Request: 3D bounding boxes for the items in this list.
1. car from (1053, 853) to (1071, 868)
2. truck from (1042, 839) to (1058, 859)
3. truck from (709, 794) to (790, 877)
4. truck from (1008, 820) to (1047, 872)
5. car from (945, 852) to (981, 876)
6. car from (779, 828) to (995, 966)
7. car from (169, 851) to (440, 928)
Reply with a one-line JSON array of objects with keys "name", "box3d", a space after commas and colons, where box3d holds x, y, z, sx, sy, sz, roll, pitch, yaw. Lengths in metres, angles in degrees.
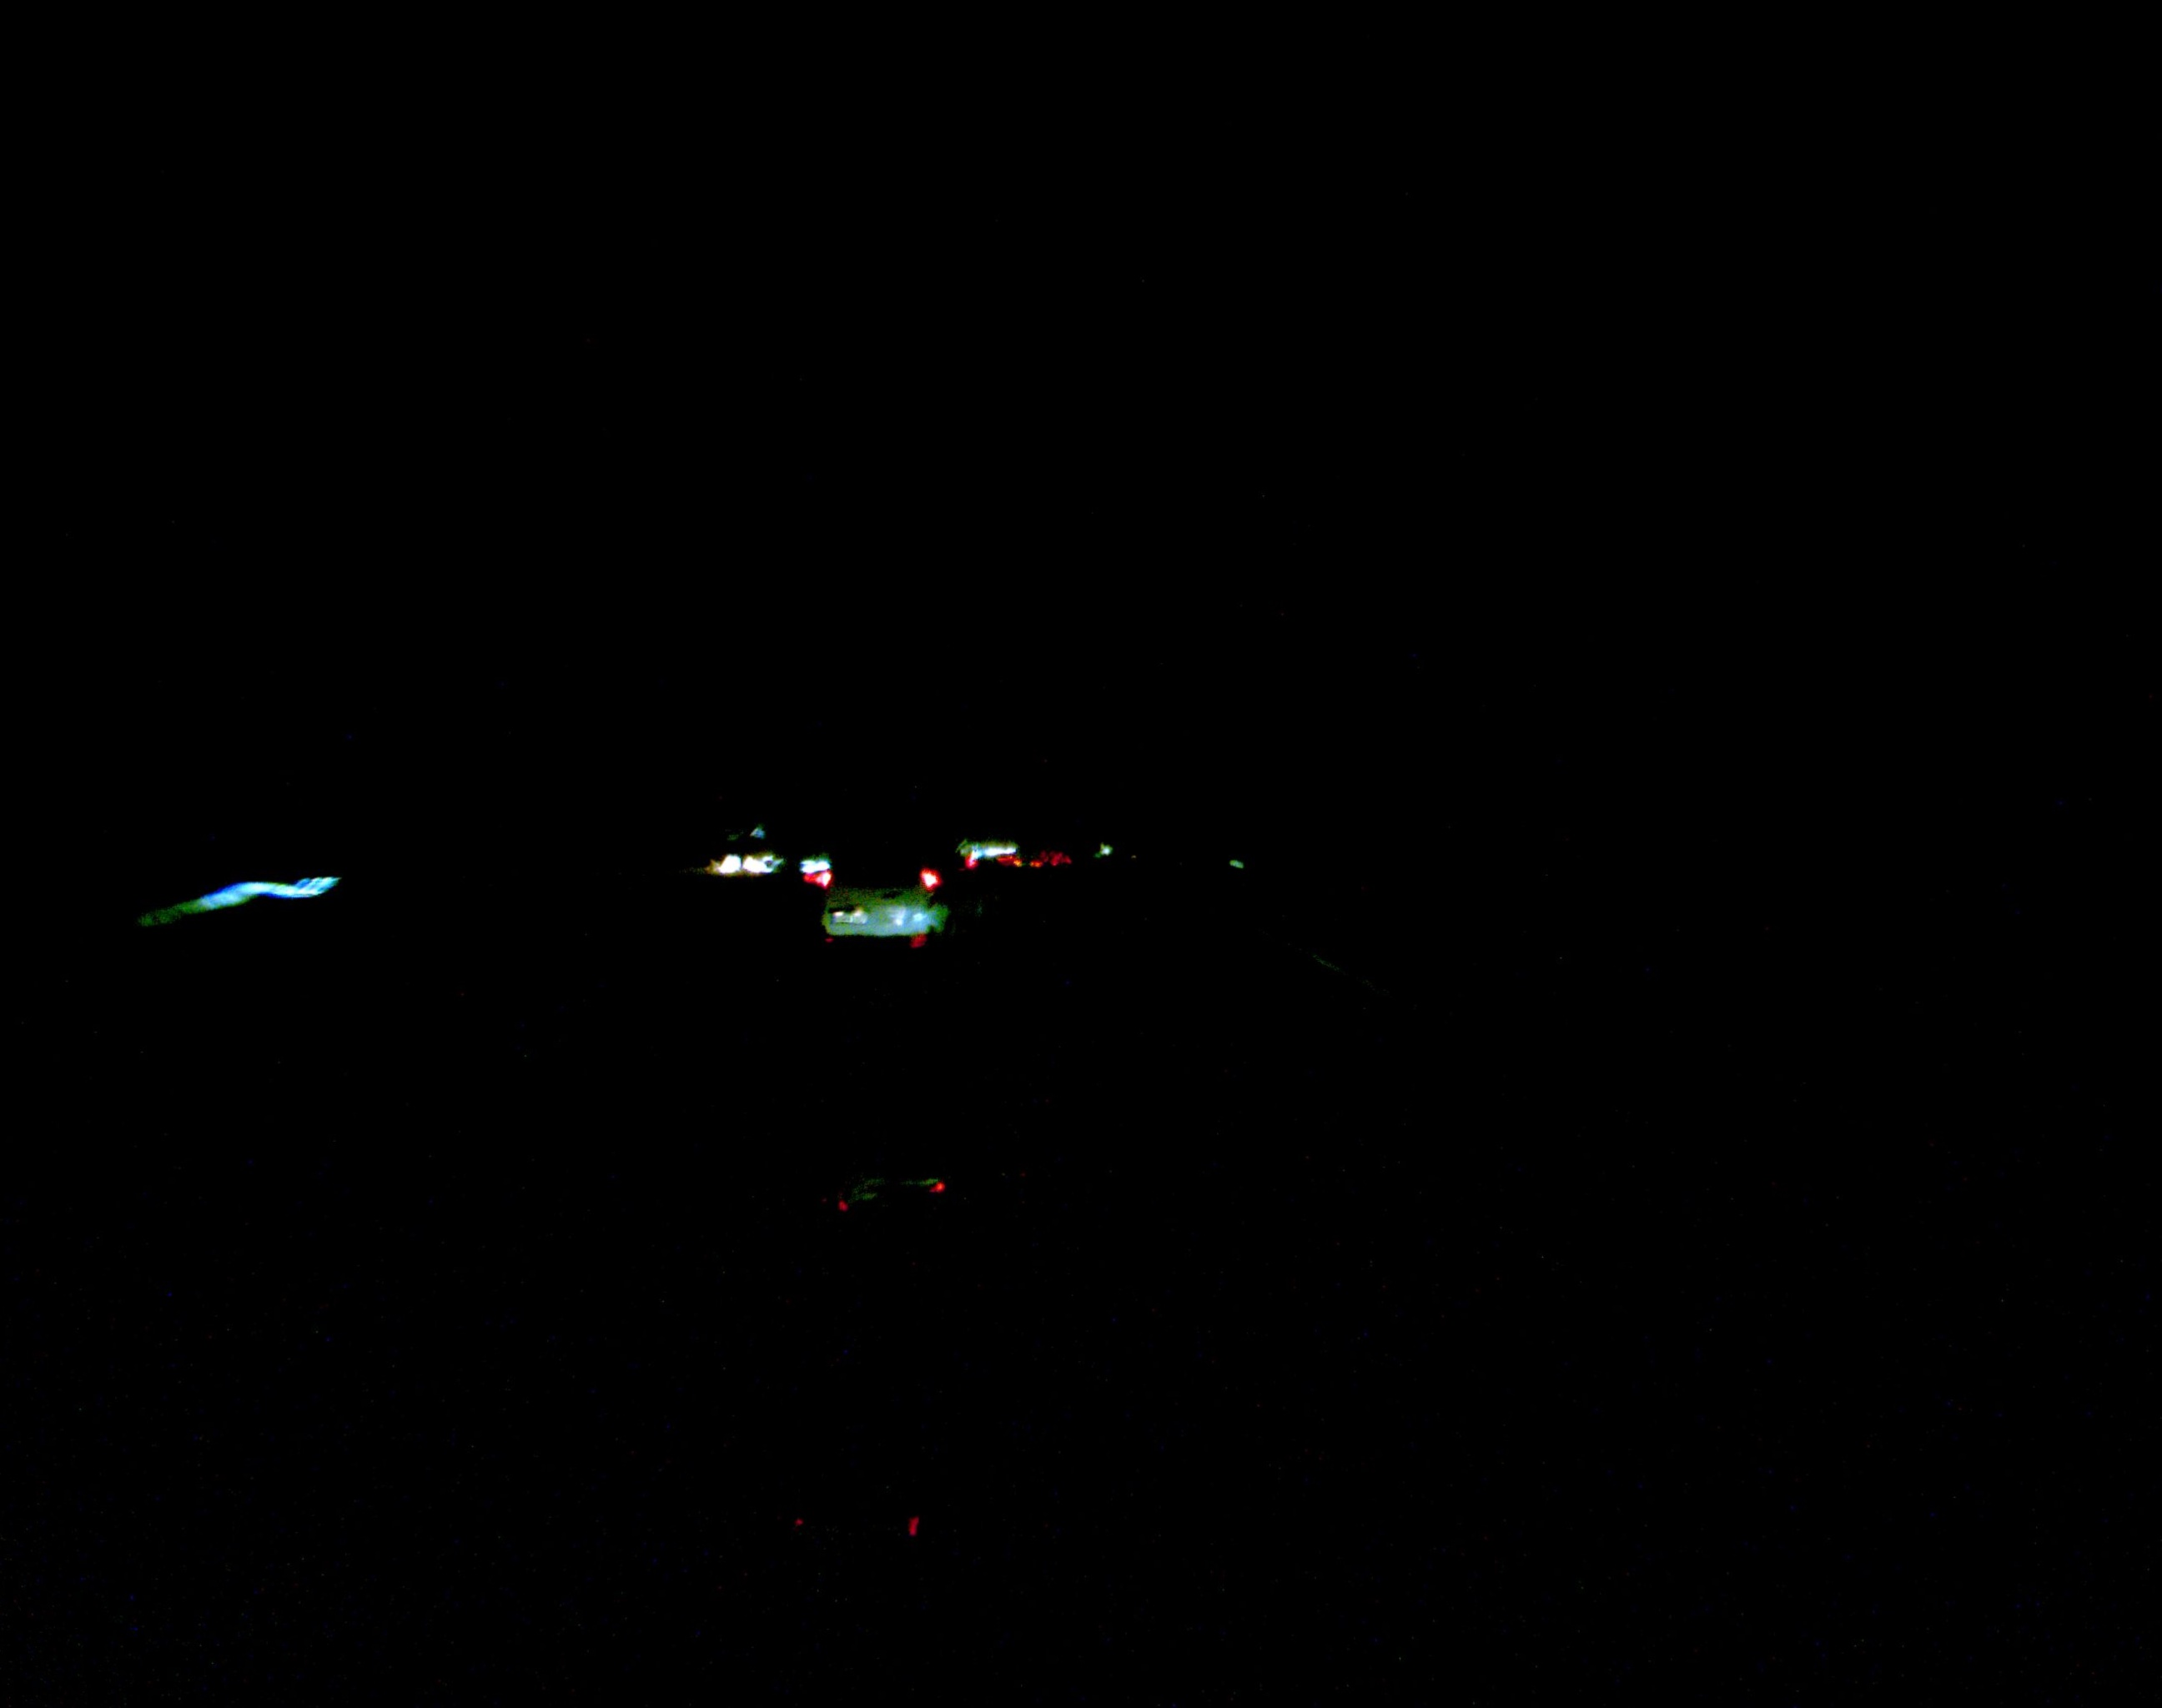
[{"name": "car", "box3d": [-2.293, 0.779, 96.527, 1.990, 1.707, 4.189, 0, 0, -4]}, {"name": "truck", "box3d": [-8.104, -1.254, 214.459, 3.817, 4.915, 11.588, 0, 0, -4]}, {"name": "truck", "box3d": [-26.187, -1.406, 64.649, 3.451, 6.128, 6.172, 3, 0, 0]}, {"name": "truck", "box3d": [-6.116, -0.792, 92.926, 4.159, 5.544, 13.055, 0, 0, -4]}, {"name": "car", "box3d": [-8.711, 0.717, 60.652, 1.986, 1.707, 4.196, 0, 0, 1]}, {"name": "car", "box3d": [-2.814, 0.570, 13.216, 1.944, 1.792, 5.130, 0, 0, 4]}, {"name": "car", "box3d": [-18.346, 0.755, 19.652, 1.987, 1.596, 4.673, 2, 0, 0]}]
